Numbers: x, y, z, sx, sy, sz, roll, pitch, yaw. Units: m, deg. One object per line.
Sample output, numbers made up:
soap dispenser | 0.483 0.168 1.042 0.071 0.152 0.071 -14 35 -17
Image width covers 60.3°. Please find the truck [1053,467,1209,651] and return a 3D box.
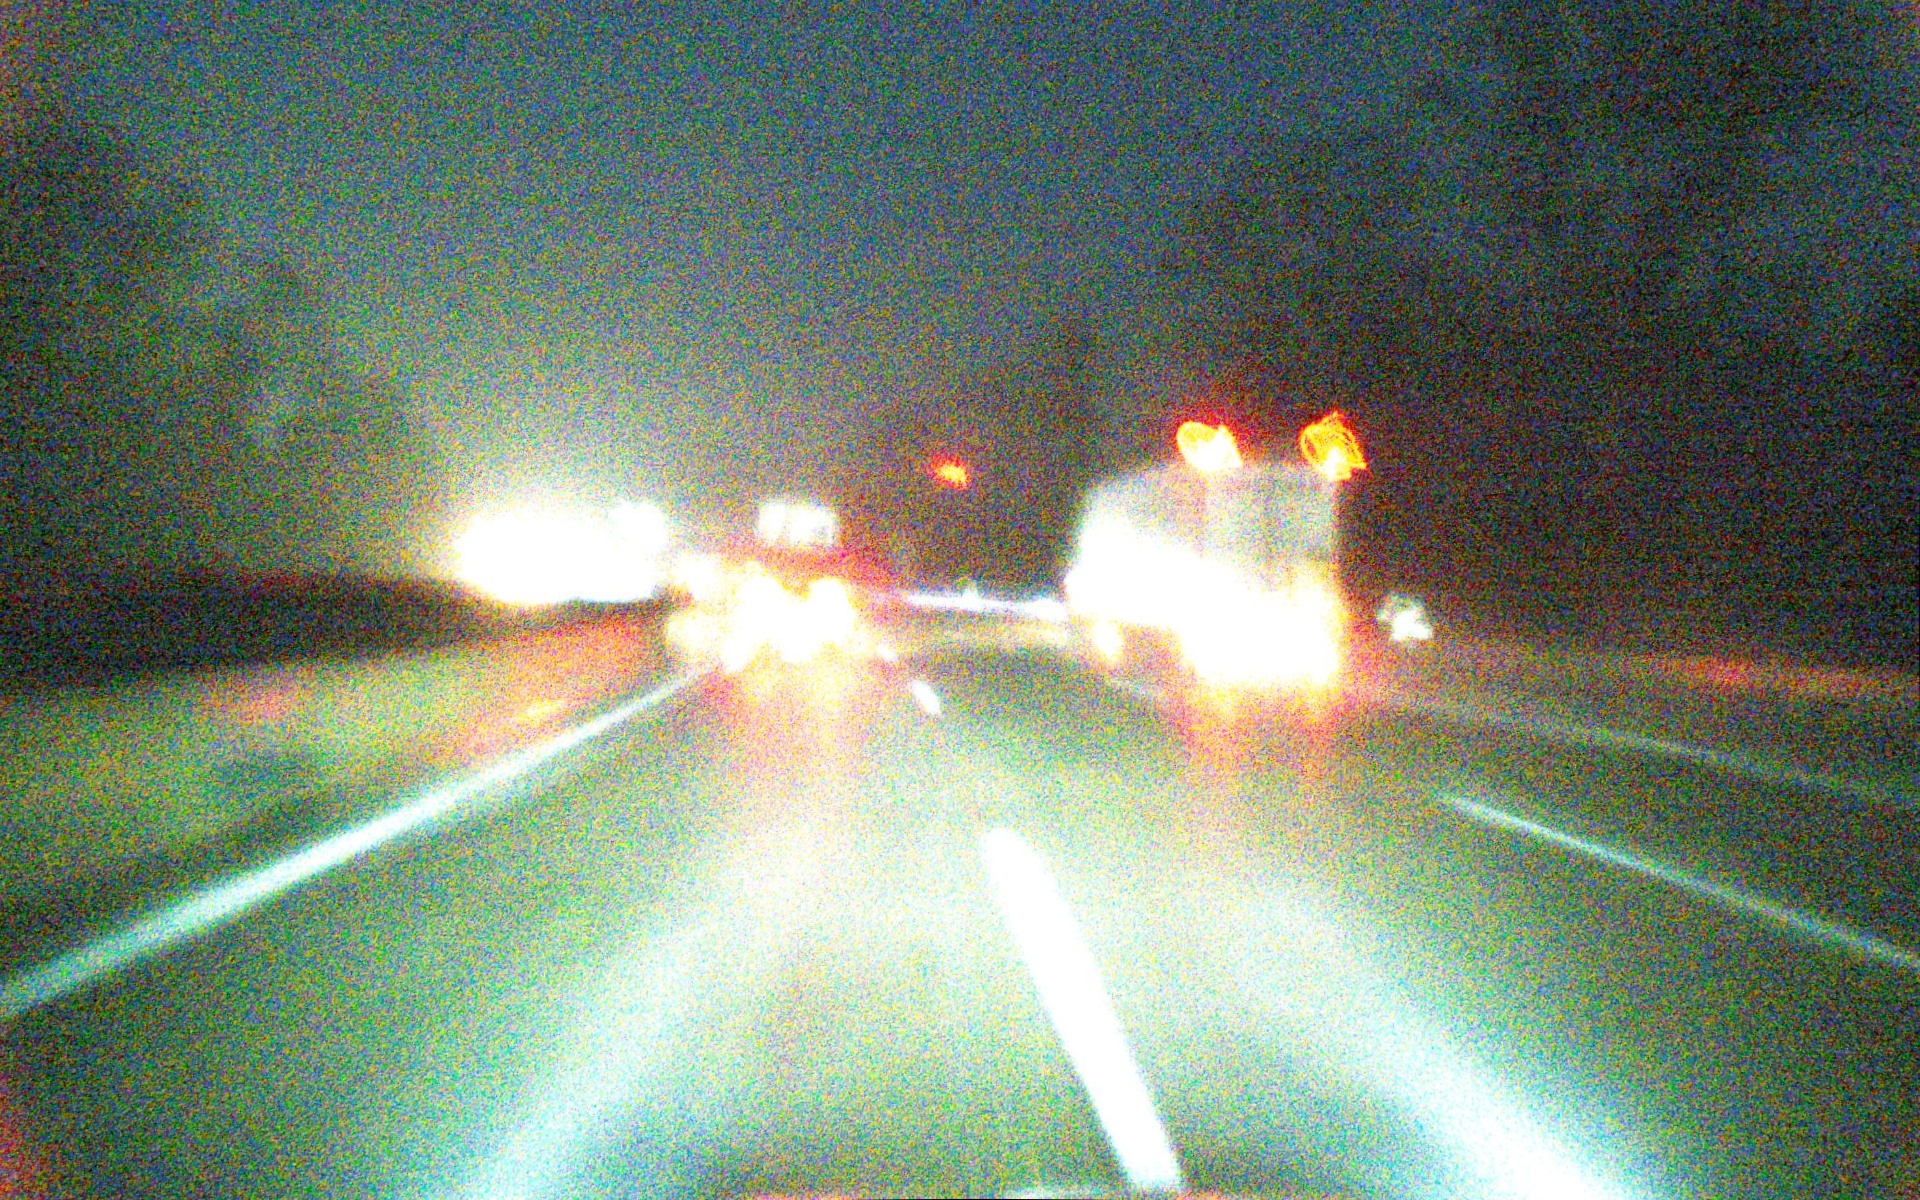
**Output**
truck | 4.210 -0.978 41.869 2.660 4.315 5.283 1 0 -8

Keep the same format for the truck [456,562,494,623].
truck | -44.959 -0.752 153.538 2.706 5.185 5.863 5 1 -14

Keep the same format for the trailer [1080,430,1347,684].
trailer | 4.875 -0.799 35.202 2.685 4.322 13.360 -1 0 -4

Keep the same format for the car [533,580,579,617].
car | -24.246 -0.111 99.373 1.956 1.884 3.996 5 1 -6

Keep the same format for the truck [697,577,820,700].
truck | -4.175 0.714 35.301 2.103 2.113 6.599 5 1 -4
